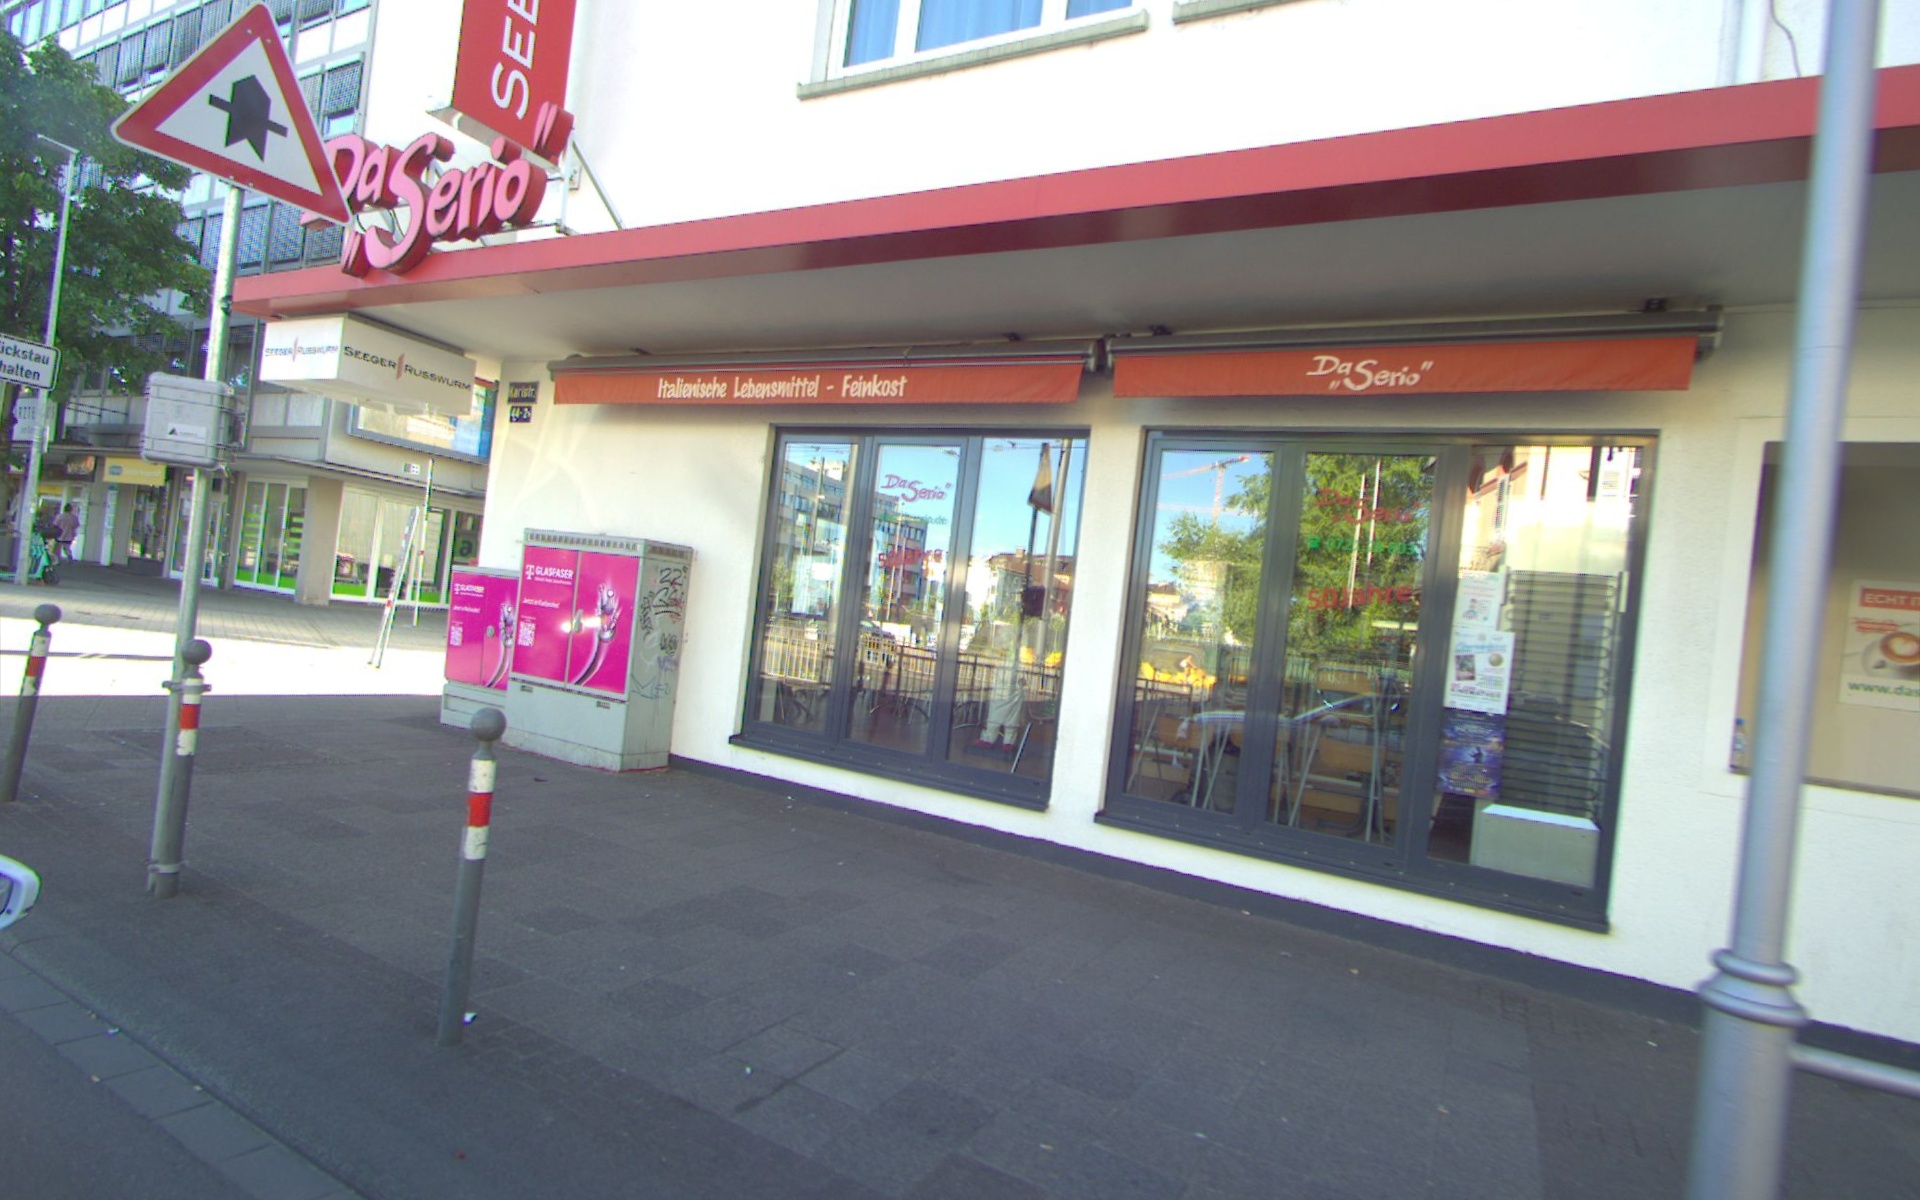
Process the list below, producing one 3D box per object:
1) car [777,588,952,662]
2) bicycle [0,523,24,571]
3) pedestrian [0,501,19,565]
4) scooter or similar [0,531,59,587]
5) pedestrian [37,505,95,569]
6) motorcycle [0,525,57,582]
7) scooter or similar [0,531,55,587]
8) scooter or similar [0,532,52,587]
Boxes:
[{"bbox_3d":[-2.772,0.771,29.783,4.790,1.450,1.862,9,1,-38],"label":"car"},{"bbox_3d":[-22.782,-1.291,23.098,0.392,1.069,1.856,6,0,21],"label":"bicycle"},{"bbox_3d":[-26.911,-1.907,27.896,0.865,1.727,0.844,6,-1,31],"label":"pedestrian"},{"bbox_3d":[-19.276,-0.844,20.720,0.157,1.056,0.964,7,-1,34],"label":"scooter or similar"},{"bbox_3d":[-24.656,-1.728,27.749,0.865,1.621,0.844,6,-1,31],"label":"pedestrian"},{"bbox_3d":[-21.106,-1.071,22.053,0.495,1.142,1.791,6,-2,29],"label":"motorcycle"},{"bbox_3d":[-19.438,-0.847,20.829,0.157,1.051,0.957,7,-1,34],"label":"scooter or similar"},{"bbox_3d":[-19.602,-0.852,20.939,0.157,1.039,0.964,7,-1,34],"label":"scooter or similar"}]
